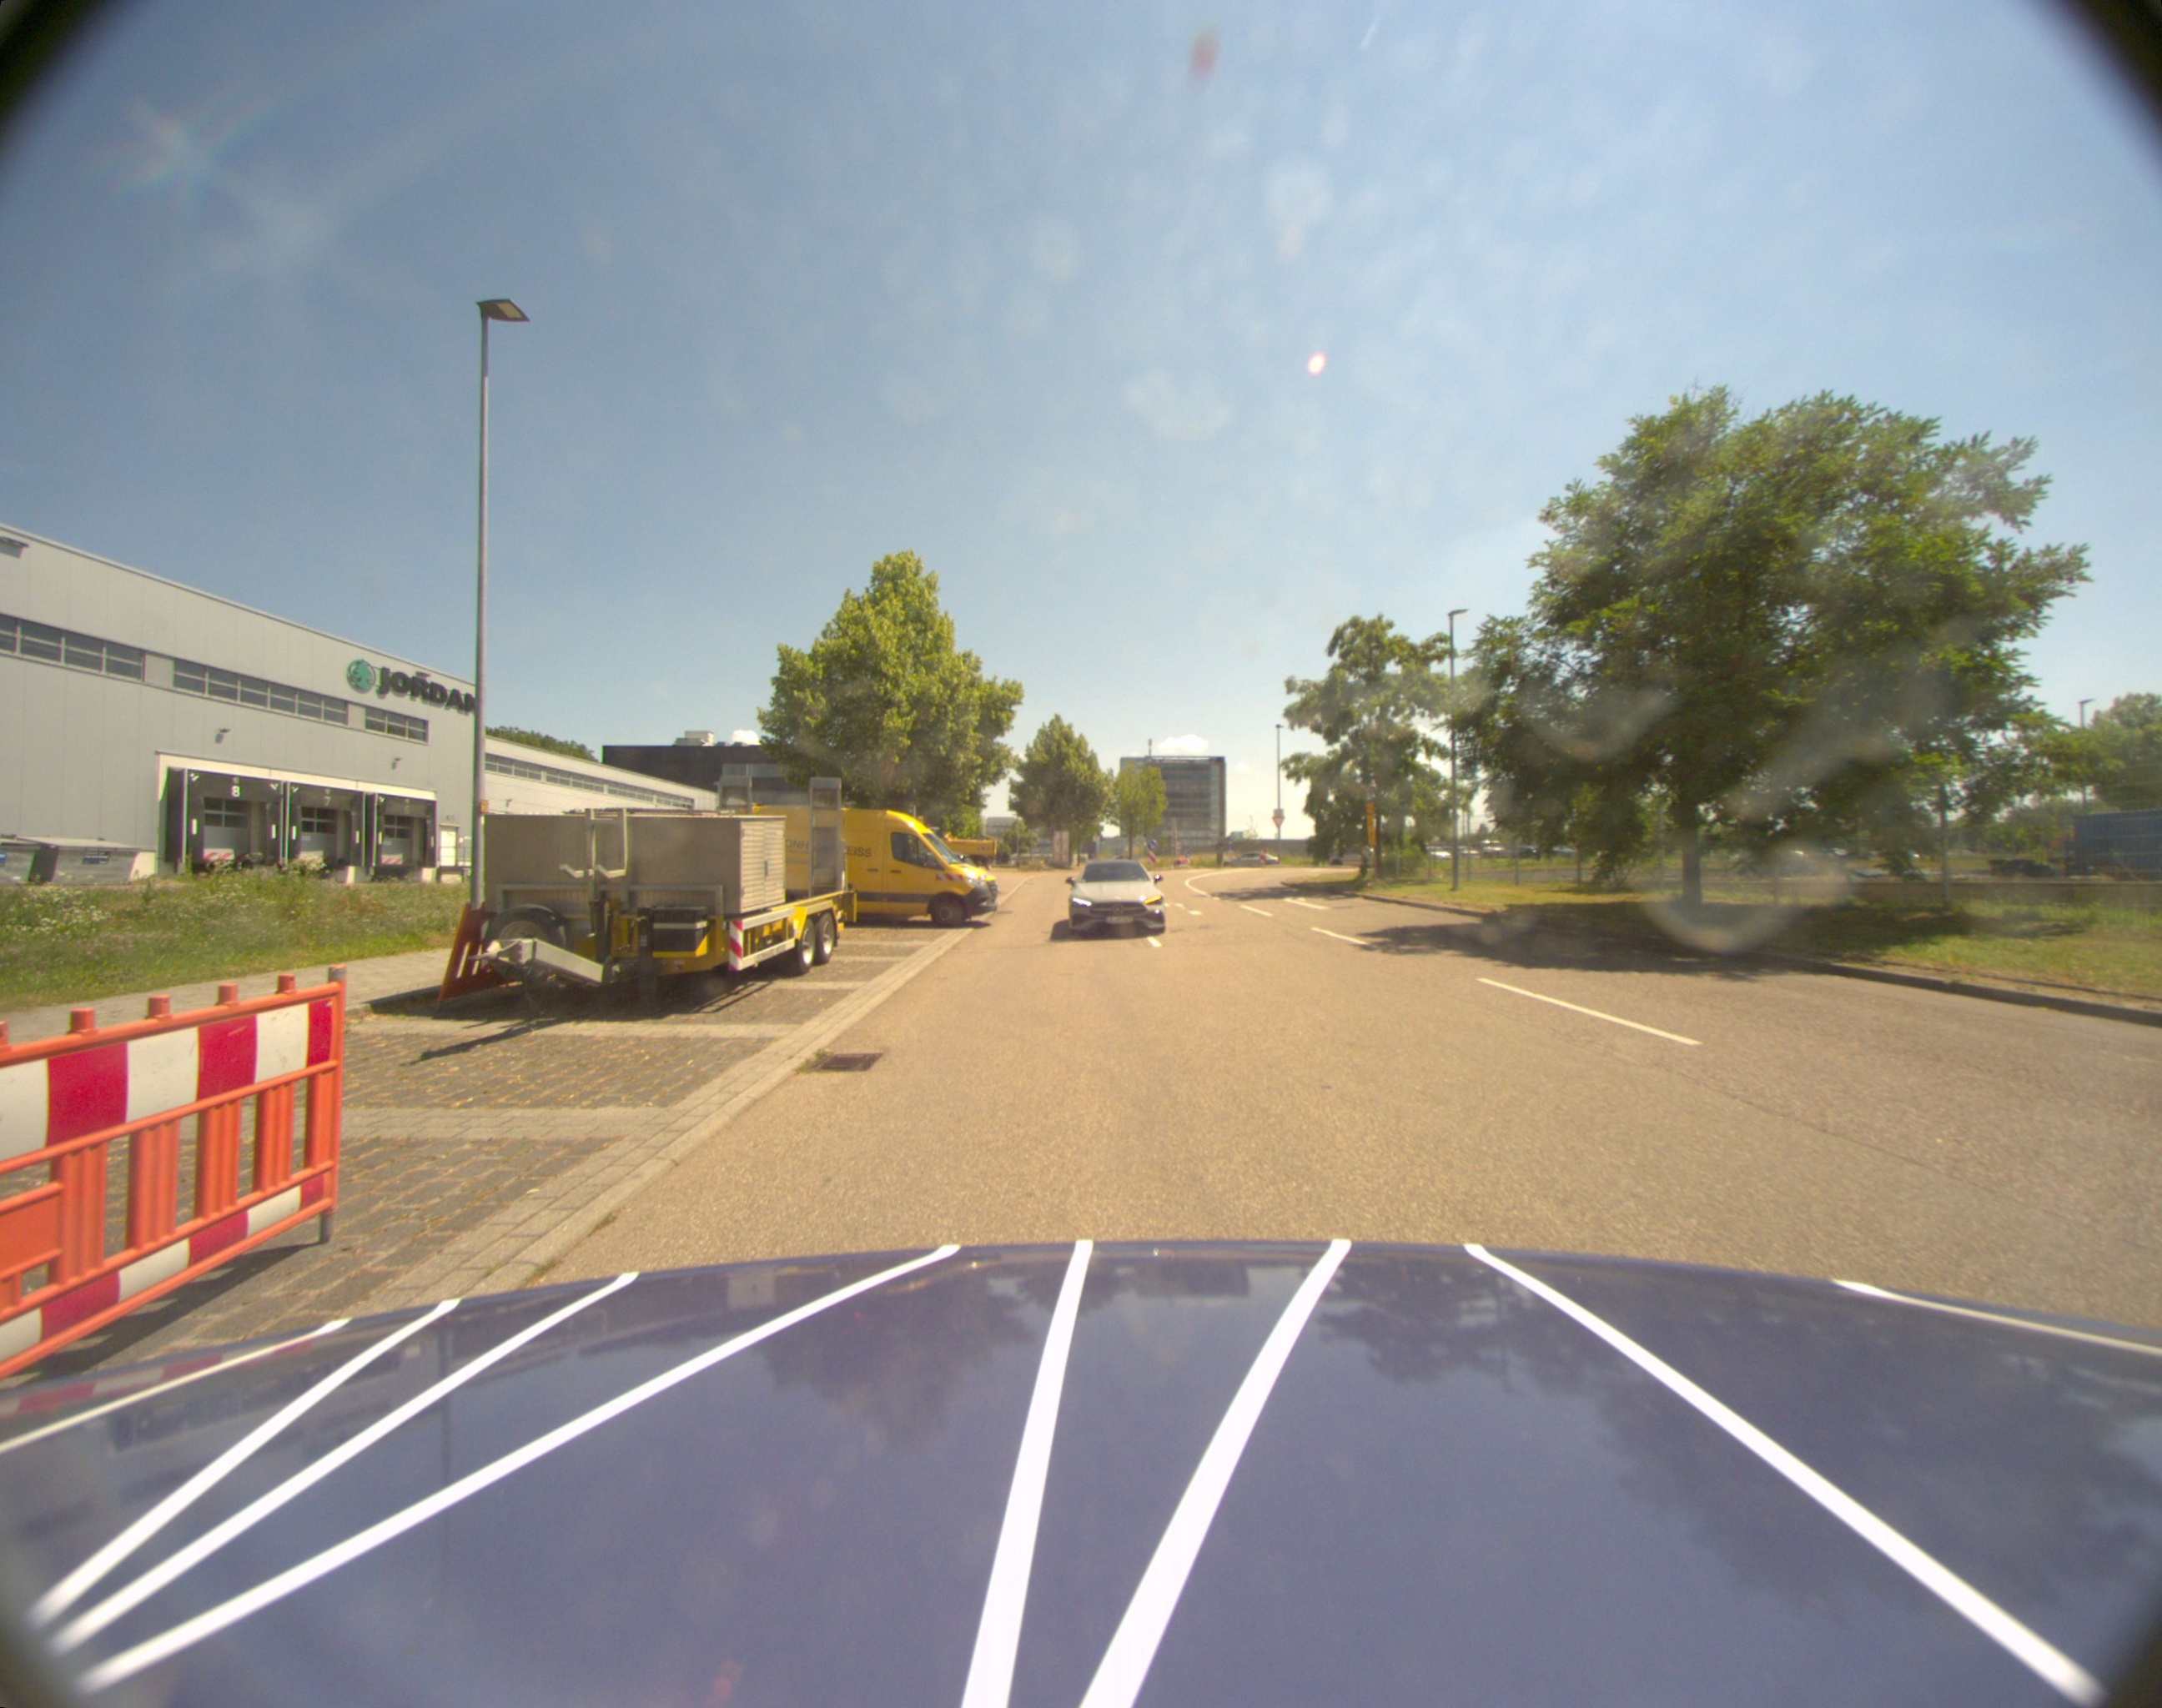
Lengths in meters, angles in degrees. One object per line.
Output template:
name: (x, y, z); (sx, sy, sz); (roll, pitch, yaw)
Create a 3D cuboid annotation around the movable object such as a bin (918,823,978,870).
movable object such as a bin: (-7.888, -0.484, 45.809); (1.998, 2.566, 6.578); (-1, 1, 4)

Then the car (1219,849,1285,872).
car: (12.534, 0.492, 55.663); (4.488, 1.365, 1.677); (-3, -4, 17)

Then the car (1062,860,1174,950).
car: (0.654, 0.911, 15.637); (1.897, 1.375, 4.632); (-3, 1, 0)

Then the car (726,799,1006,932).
car: (-4.754, 0.245, 17.436); (5.794, 2.717, 2.000); (2, 1, 0)

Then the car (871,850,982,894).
car: (-5.542, 0.641, 27.500); (3.670, 1.454, 1.627); (1, 1, -1)

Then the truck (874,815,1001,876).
truck: (-7.486, -0.475, 40.334); (6.422, 3.119, 2.594); (0, 2, -5)

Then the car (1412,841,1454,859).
car: (28.614, -0.273, 61.871); (1.573, 1.289, 3.879); (-2, -2, -1)

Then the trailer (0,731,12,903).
trailer: (-16.480, -0.694, 6.993); (2.665, 2.405, 7.419); (-2, -3, 1)

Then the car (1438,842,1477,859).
car: (30.797, -0.281, 62.261); (1.500, 1.174, 3.271); (-2, -2, -2)

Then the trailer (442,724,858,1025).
trailer: (-4.908, 0.218, 10.029); (2.664, 2.840, 5.517); (1, 0, -5)
